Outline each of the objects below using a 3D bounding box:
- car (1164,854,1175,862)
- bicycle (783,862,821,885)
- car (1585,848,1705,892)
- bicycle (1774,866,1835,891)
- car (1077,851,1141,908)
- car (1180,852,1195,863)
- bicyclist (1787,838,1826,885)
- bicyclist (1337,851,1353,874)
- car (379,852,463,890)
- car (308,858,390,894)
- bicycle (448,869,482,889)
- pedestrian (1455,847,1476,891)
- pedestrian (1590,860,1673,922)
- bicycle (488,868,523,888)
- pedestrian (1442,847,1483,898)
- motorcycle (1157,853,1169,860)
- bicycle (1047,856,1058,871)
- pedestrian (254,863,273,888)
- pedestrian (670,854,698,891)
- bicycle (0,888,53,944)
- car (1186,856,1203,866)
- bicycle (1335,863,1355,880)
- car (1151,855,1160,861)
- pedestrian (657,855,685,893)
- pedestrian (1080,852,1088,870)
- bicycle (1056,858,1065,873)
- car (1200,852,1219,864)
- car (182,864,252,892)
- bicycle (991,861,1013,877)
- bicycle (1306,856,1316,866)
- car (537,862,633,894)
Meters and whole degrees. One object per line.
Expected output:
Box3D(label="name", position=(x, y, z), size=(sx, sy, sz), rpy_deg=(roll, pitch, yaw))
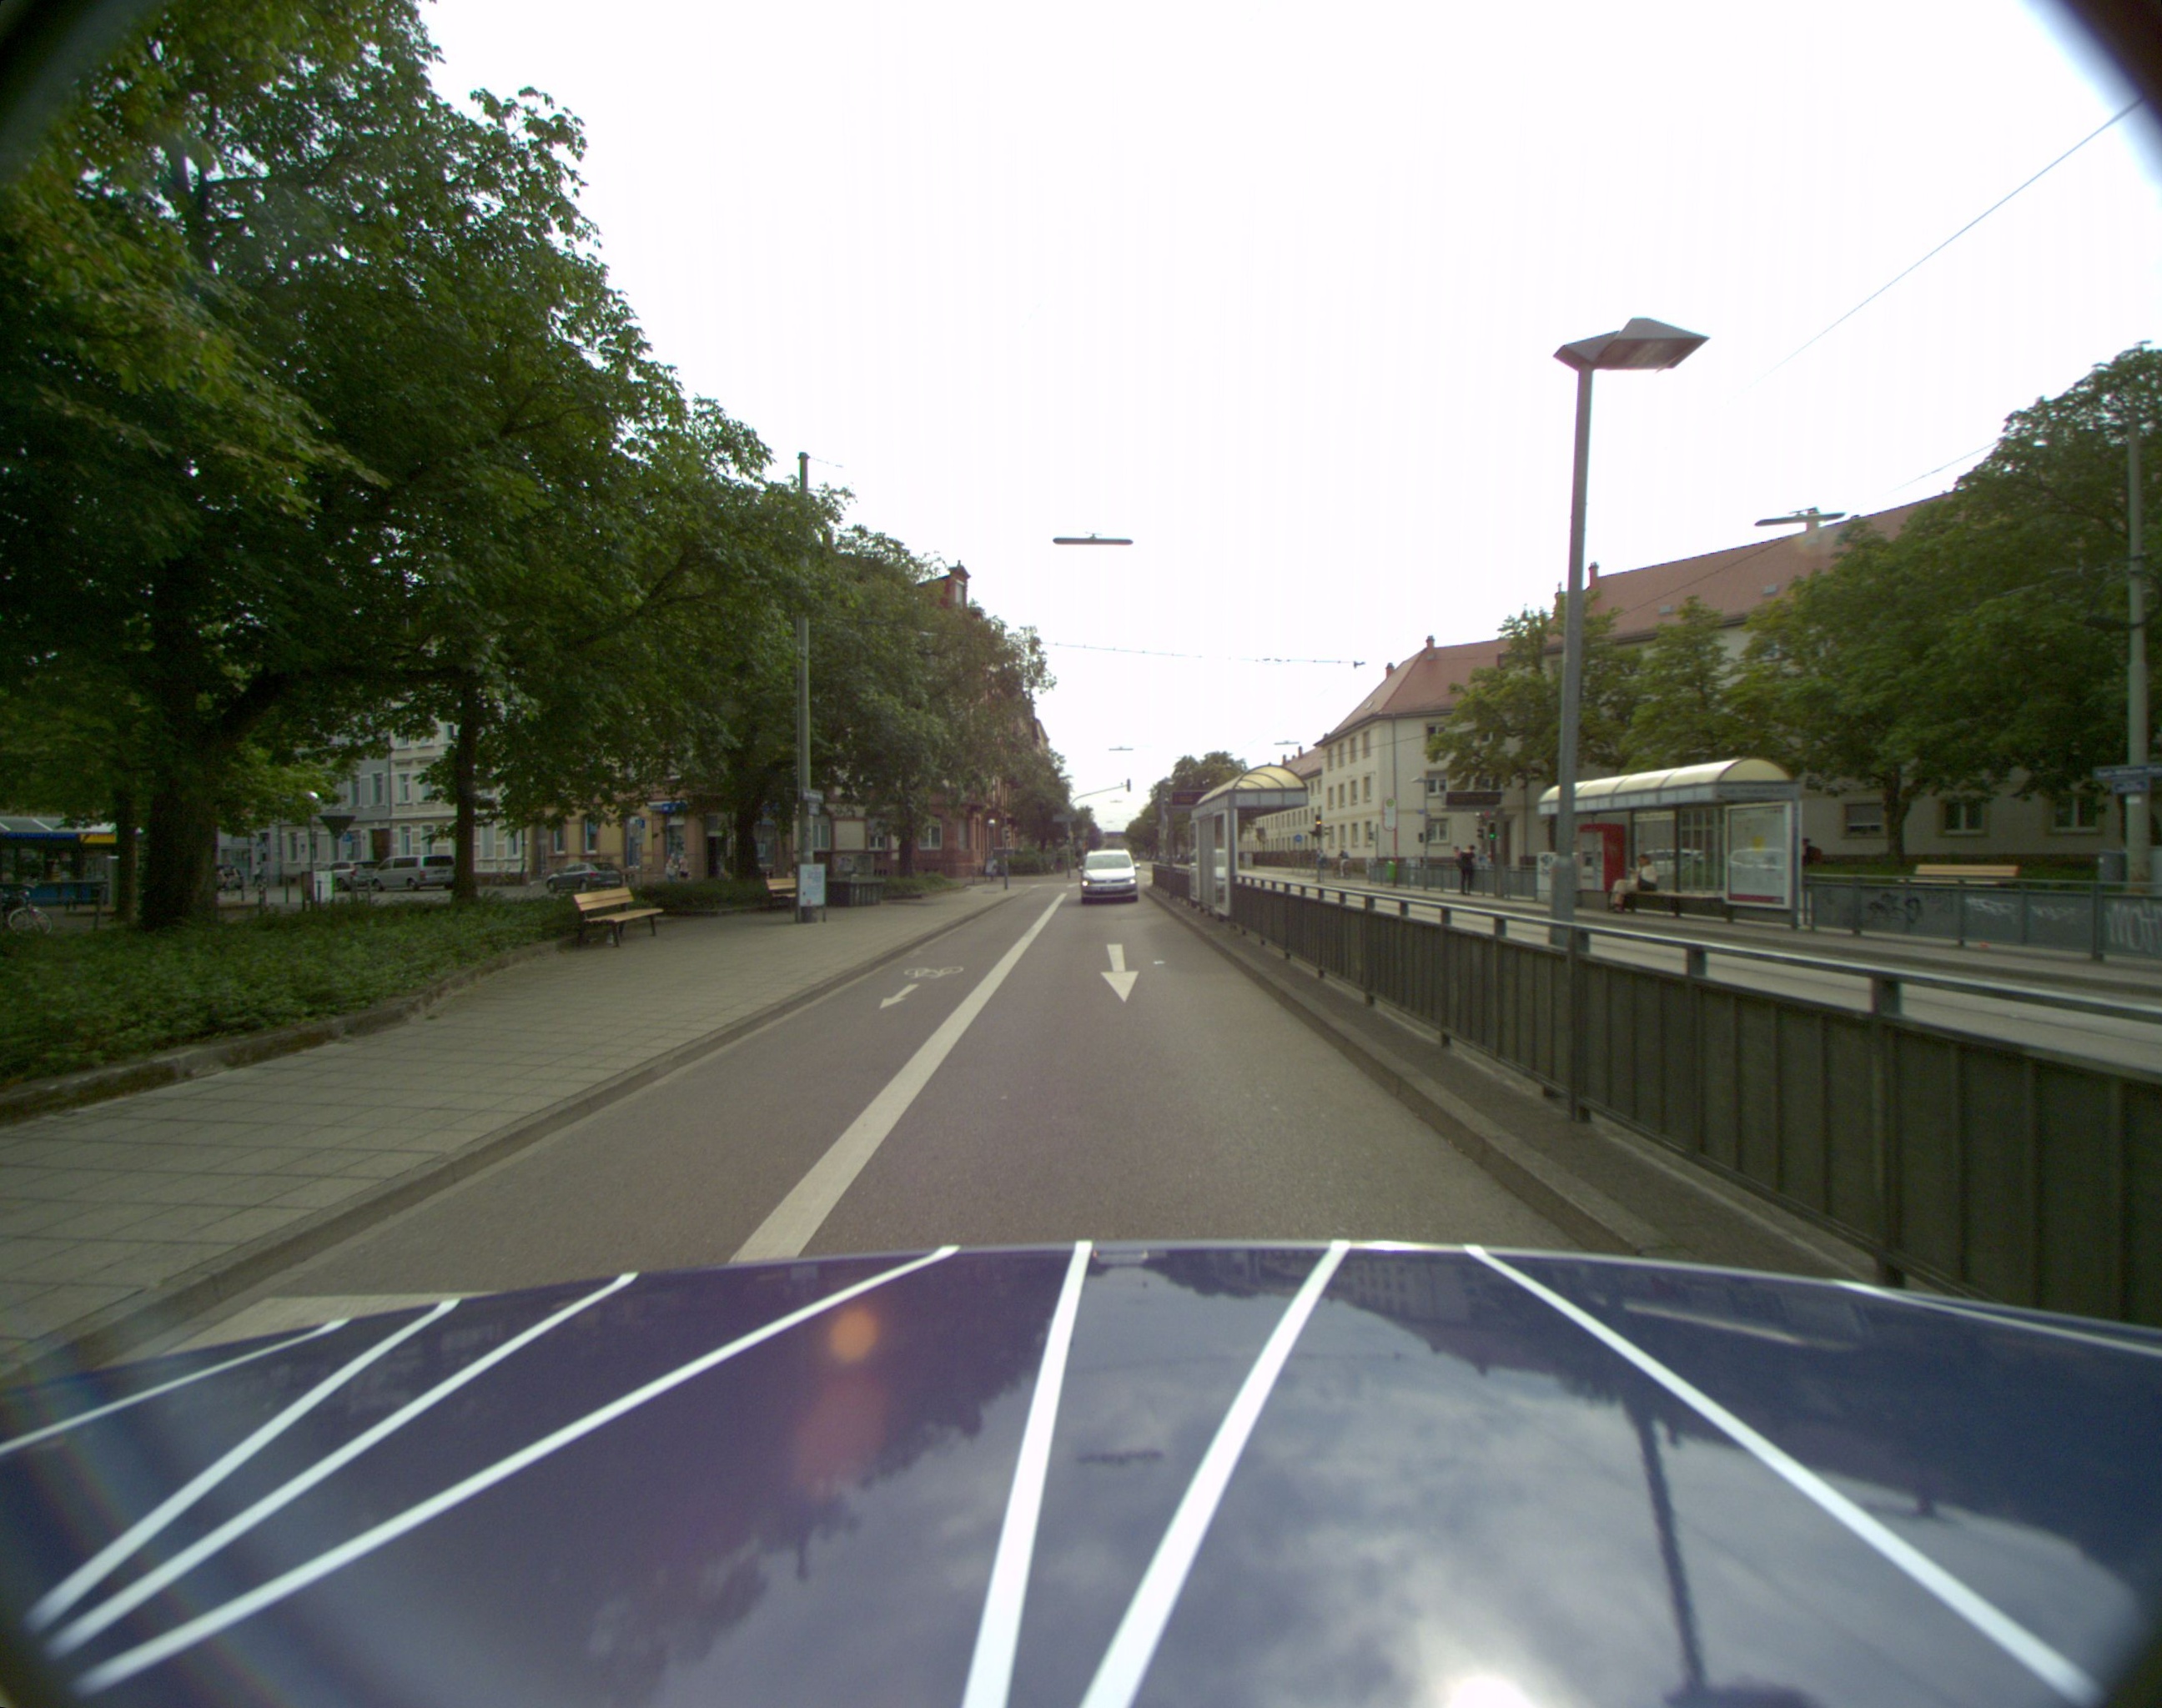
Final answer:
Box3D(label="car", position=(16.939, 0.832, 145.621), size=(1.701, 1.462, 4.299), rpy_deg=(-1, 0, -1))
Box3D(label="bicycle", position=(-14.003, 0.954, 38.124), size=(1.672, 1.137, 0.673), rpy_deg=(0, 0, -7))
Box3D(label="car", position=(25.225, 0.670, 34.071), size=(4.146, 1.711, 1.844), rpy_deg=(2, 3, 41))
Box3D(label="bicycle", position=(27.878, 0.923, 29.291), size=(0.609, 0.931, 1.573), rpy_deg=(0, 0, -26))
Box3D(label="car", position=(0.922, 0.754, 24.928), size=(1.876, 1.670, 5.132), rpy_deg=(0, 0, 2))
Box3D(label="car", position=(16.440, 0.567, 117.120), size=(1.790, 1.602, 4.300), rpy_deg=(0, 0, 1))
Box3D(label="bicyclist", position=(27.903, 0.285, 29.230), size=(0.613, 1.765, 0.909), rpy_deg=(0, 0, -26))
Box3D(label="bicyclist", position=(15.694, 0.499, 45.219), size=(0.662, 1.332, 0.836), rpy_deg=(0, 1, 2))
Box3D(label="car", position=(-36.034, 0.904, 41.483), size=(3.990, 1.969, 1.871), rpy_deg=(0, 0, 23))
Box3D(label="car", position=(-41.782, 1.228, 43.389), size=(4.145, 1.932, 1.821), rpy_deg=(0, 0, 23))
Box3D(label="bicycle", position=(-36.383, 1.470, 44.867), size=(1.935, 1.114, 0.674), rpy_deg=(0, 0, 20))
Box3D(label="pedestrian", position=(16.915, 0.652, 33.461), size=(0.731, 1.889, 0.836), rpy_deg=(0, 0, 20))
Box3D(label="pedestrian", position=(11.822, 0.772, 16.350), size=(1.061, 1.286, 0.985), rpy_deg=(0, 1, -4))
Box3D(label="bicycle", position=(-32.777, 1.380, 43.271), size=(1.935, 1.114, 0.674), rpy_deg=(0, 0, 20))
Box3D(label="pedestrian", position=(12.192, 0.580, 24.317), size=(0.854, 1.611, 0.843), rpy_deg=(0, 1, -4))
Box3D(label="motorcycle", position=(17.449, 0.564, 161.206), size=(2.311, 1.382, 0.838), rpy_deg=(-6, 1, 33))
Box3D(label="bicycle", position=(-2.101, 0.728, 56.629), size=(0.672, 1.100, 1.672), rpy_deg=(0, 0, 2))
Box3D(label="pedestrian", position=(-56.543, 1.471, 52.565), size=(0.731, 1.744, 0.648), rpy_deg=(0, 0, 23))
Box3D(label="pedestrian", position=(-18.753, 0.860, 35.911), size=(0.891, 1.719, 0.759), rpy_deg=(1, 1, 25))
Box3D(label="bicycle", position=(-22.683, 1.281, 15.821), size=(1.892, 1.121, 0.533), rpy_deg=(0, 1, 3))
Box3D(label="car", position=(15.697, 0.944, 105.415), size=(1.701, 1.415, 4.300), rpy_deg=(-2, 0, 1))
Box3D(label="bicycle", position=(15.695, 1.024, 45.224), size=(0.662, 0.943, 1.550), rpy_deg=(0, 0, 2))
Box3D(label="car", position=(17.870, 0.903, 182.957), size=(1.732, 1.462, 4.299), rpy_deg=(0, 0, -1))
Box3D(label="pedestrian", position=(-18.807, 0.895, 34.866), size=(0.730, 1.719, 0.895), rpy_deg=(1, 1, 34))
Box3D(label="pedestrian", position=(0.301, 0.710, 75.138), size=(0.732, 1.744, 0.950), rpy_deg=(0, 0, 6))
Box3D(label="bicycle", position=(-1.603, 0.877, 59.340), size=(0.510, 1.082, 1.550), rpy_deg=(3, 0, 2))
Box3D(label="car", position=(16.456, 0.551, 97.484), size=(1.701, 1.415, 4.300), rpy_deg=(-3, 0, 1))
Box3D(label="car", position=(-56.848, 1.567, 50.002), size=(3.990, 1.740, 1.821), rpy_deg=(0, 0, 23))
Box3D(label="bicycle", position=(-5.173, 0.970, 49.718), size=(0.509, 0.964, 1.553), rpy_deg=(0, 0, 34))
Box3D(label="bicycle", position=(20.831, 0.623, 68.839), size=(0.479, 0.910, 1.672), rpy_deg=(0, 0, 2))
Box3D(label="car", position=(-23.249, 1.108, 35.639), size=(3.990, 1.433, 1.821), rpy_deg=(0, 0, 23))
